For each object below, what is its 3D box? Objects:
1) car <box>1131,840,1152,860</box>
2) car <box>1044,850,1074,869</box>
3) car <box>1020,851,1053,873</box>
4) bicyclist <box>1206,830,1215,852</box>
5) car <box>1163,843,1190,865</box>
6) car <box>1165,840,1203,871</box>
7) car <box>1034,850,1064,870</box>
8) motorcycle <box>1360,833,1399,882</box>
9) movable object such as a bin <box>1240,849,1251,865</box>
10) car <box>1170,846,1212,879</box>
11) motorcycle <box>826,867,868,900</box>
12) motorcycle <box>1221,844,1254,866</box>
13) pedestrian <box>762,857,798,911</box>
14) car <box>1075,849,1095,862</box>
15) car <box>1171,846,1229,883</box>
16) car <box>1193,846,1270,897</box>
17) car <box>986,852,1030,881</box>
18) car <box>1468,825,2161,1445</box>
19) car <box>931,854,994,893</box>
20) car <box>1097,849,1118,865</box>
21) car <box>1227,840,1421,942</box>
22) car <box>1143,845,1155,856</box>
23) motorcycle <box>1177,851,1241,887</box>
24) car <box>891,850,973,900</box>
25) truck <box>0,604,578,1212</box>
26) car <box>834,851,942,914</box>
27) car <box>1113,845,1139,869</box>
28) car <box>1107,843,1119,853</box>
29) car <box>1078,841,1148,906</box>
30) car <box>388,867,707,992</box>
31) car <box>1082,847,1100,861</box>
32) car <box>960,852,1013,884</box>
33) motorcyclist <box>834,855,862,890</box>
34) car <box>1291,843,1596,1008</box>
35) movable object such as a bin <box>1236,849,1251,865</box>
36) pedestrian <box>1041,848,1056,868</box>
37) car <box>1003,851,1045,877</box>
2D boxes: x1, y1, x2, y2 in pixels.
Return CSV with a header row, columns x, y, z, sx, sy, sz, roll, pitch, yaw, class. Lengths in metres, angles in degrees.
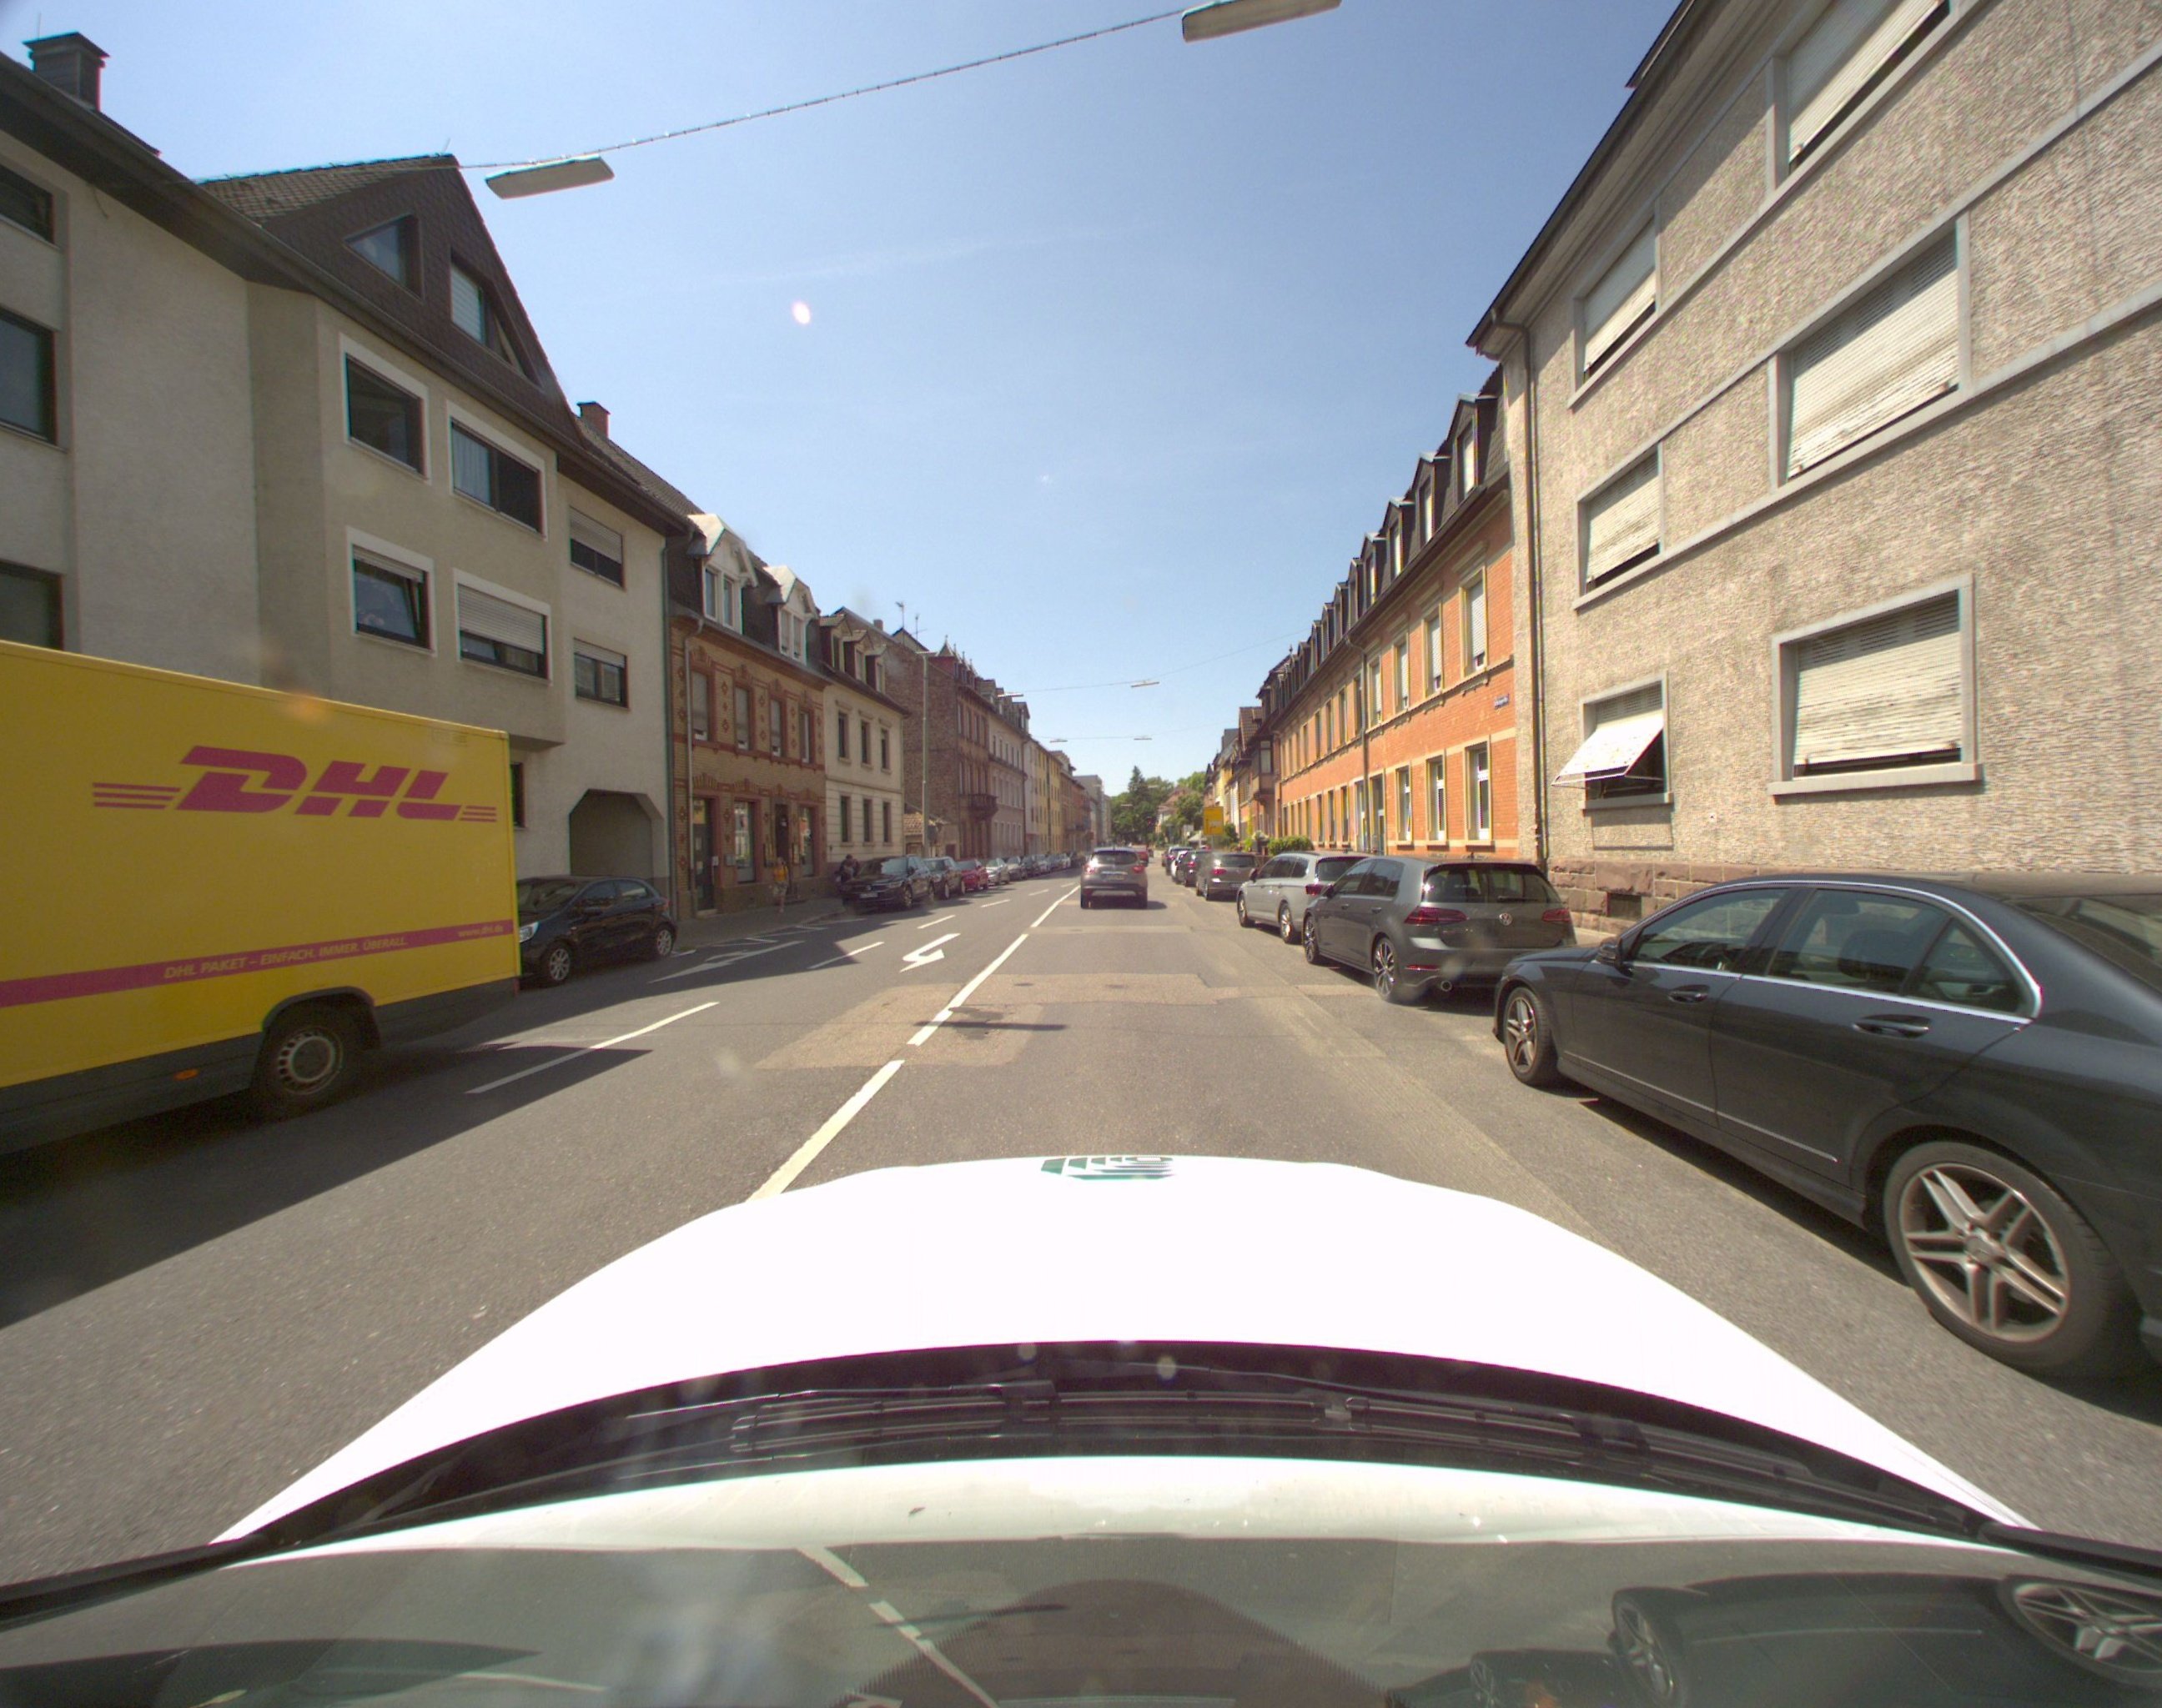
x,y,z,sx,sy,sz,roll,pitch,yaw,class
6.591,-0.475,88.593,1.983,2.013,4.475,-3,0,7,car
-1.861,0.478,70.394,1.830,1.422,4.565,-5,0,6,car
-3.185,0.554,58.727,1.832,1.422,4.505,-4,0,3,car
8.660,-0.874,54.537,0.530,1.469,0.792,-2,0,5,bicyclist
7.679,-0.014,65.725,1.853,1.747,4.621,0,1,2,car
6.008,0.080,48.105,1.984,1.662,4.631,-2,0,5,car
-2.507,0.459,64.636,1.832,1.422,4.649,-4,0,3,car
7.876,0.089,21.535,0.593,1.225,1.363,-2,0,4,motorcycle
10.923,0.181,54.115,0.655,1.055,0.750,-2,0,6,movable object such as a bin
5.213,0.346,38.950,1.708,1.414,4.596,-2,0,5,car
-8.489,1.052,29.616,0.841,1.078,1.874,-2,0,4,motorcycle
10.880,0.071,56.741,2.119,1.408,0.938,-4,0,4,motorcycle
-8.587,0.850,23.266,0.605,1.495,0.972,0,0,5,pedestrian
0.482,0.165,94.366,1.895,1.401,4.762,-4,0,5,car
4.855,0.398,33.723,1.643,1.414,4.499,-1,0,-1,car
4.519,0.484,24.982,1.694,1.380,4.169,-1,0,2,car
-4.204,0.707,47.632,1.832,1.422,4.506,-6,0,3,car
3.534,0.648,3.606,1.704,1.473,4.442,-2,0,3,car
-5.011,0.791,35.087,1.833,1.422,4.503,-5,0,1,car
2.615,0.243,79.127,1.782,1.420,4.320,-2,0,4,car
4.028,0.547,14.378,1.849,1.463,4.545,-1,0,-3,car
10.442,-0.597,125.171,1.754,1.559,3.950,-2,0,6,car
4.616,0.522,29.403,1.971,1.225,1.120,0,0,43,motorcycle
-5.479,0.721,30.609,1.832,1.596,4.507,-5,0,4,car
-6.041,0.291,3.736,2.216,2.771,7.571,-3,0,4,truck
-5.701,0.780,24.708,1.831,1.596,4.507,-4,0,4,car
3.467,0.214,61.929,1.804,1.620,4.446,-3,0,3,car
6.211,-1.103,155.317,1.895,1.821,4.310,-2,0,6,car
0.874,0.469,22.473,1.737,1.616,4.002,-1,0,2,car
-7.808,0.992,12.581,1.833,1.488,4.504,0,0,2,car
1.242,-0.056,103.742,1.896,1.619,4.308,-4,0,5,car
-4.770,0.679,41.784,1.831,1.422,4.507,-4,0,4,car
-8.501,0.674,29.724,0.715,1.248,0.712,-2,0,3,motorcyclist
3.748,0.620,9.270,1.646,1.420,4.048,-2,0,0,car
9.574,0.153,48.045,0.785,0.907,0.539,-2,0,2,movable object such as a bin
-2.918,0.375,73.378,1.145,1.750,0.971,-2,0,7,pedestrian
-3.697,0.630,53.487,1.831,1.422,4.510,-6,0,6,car
